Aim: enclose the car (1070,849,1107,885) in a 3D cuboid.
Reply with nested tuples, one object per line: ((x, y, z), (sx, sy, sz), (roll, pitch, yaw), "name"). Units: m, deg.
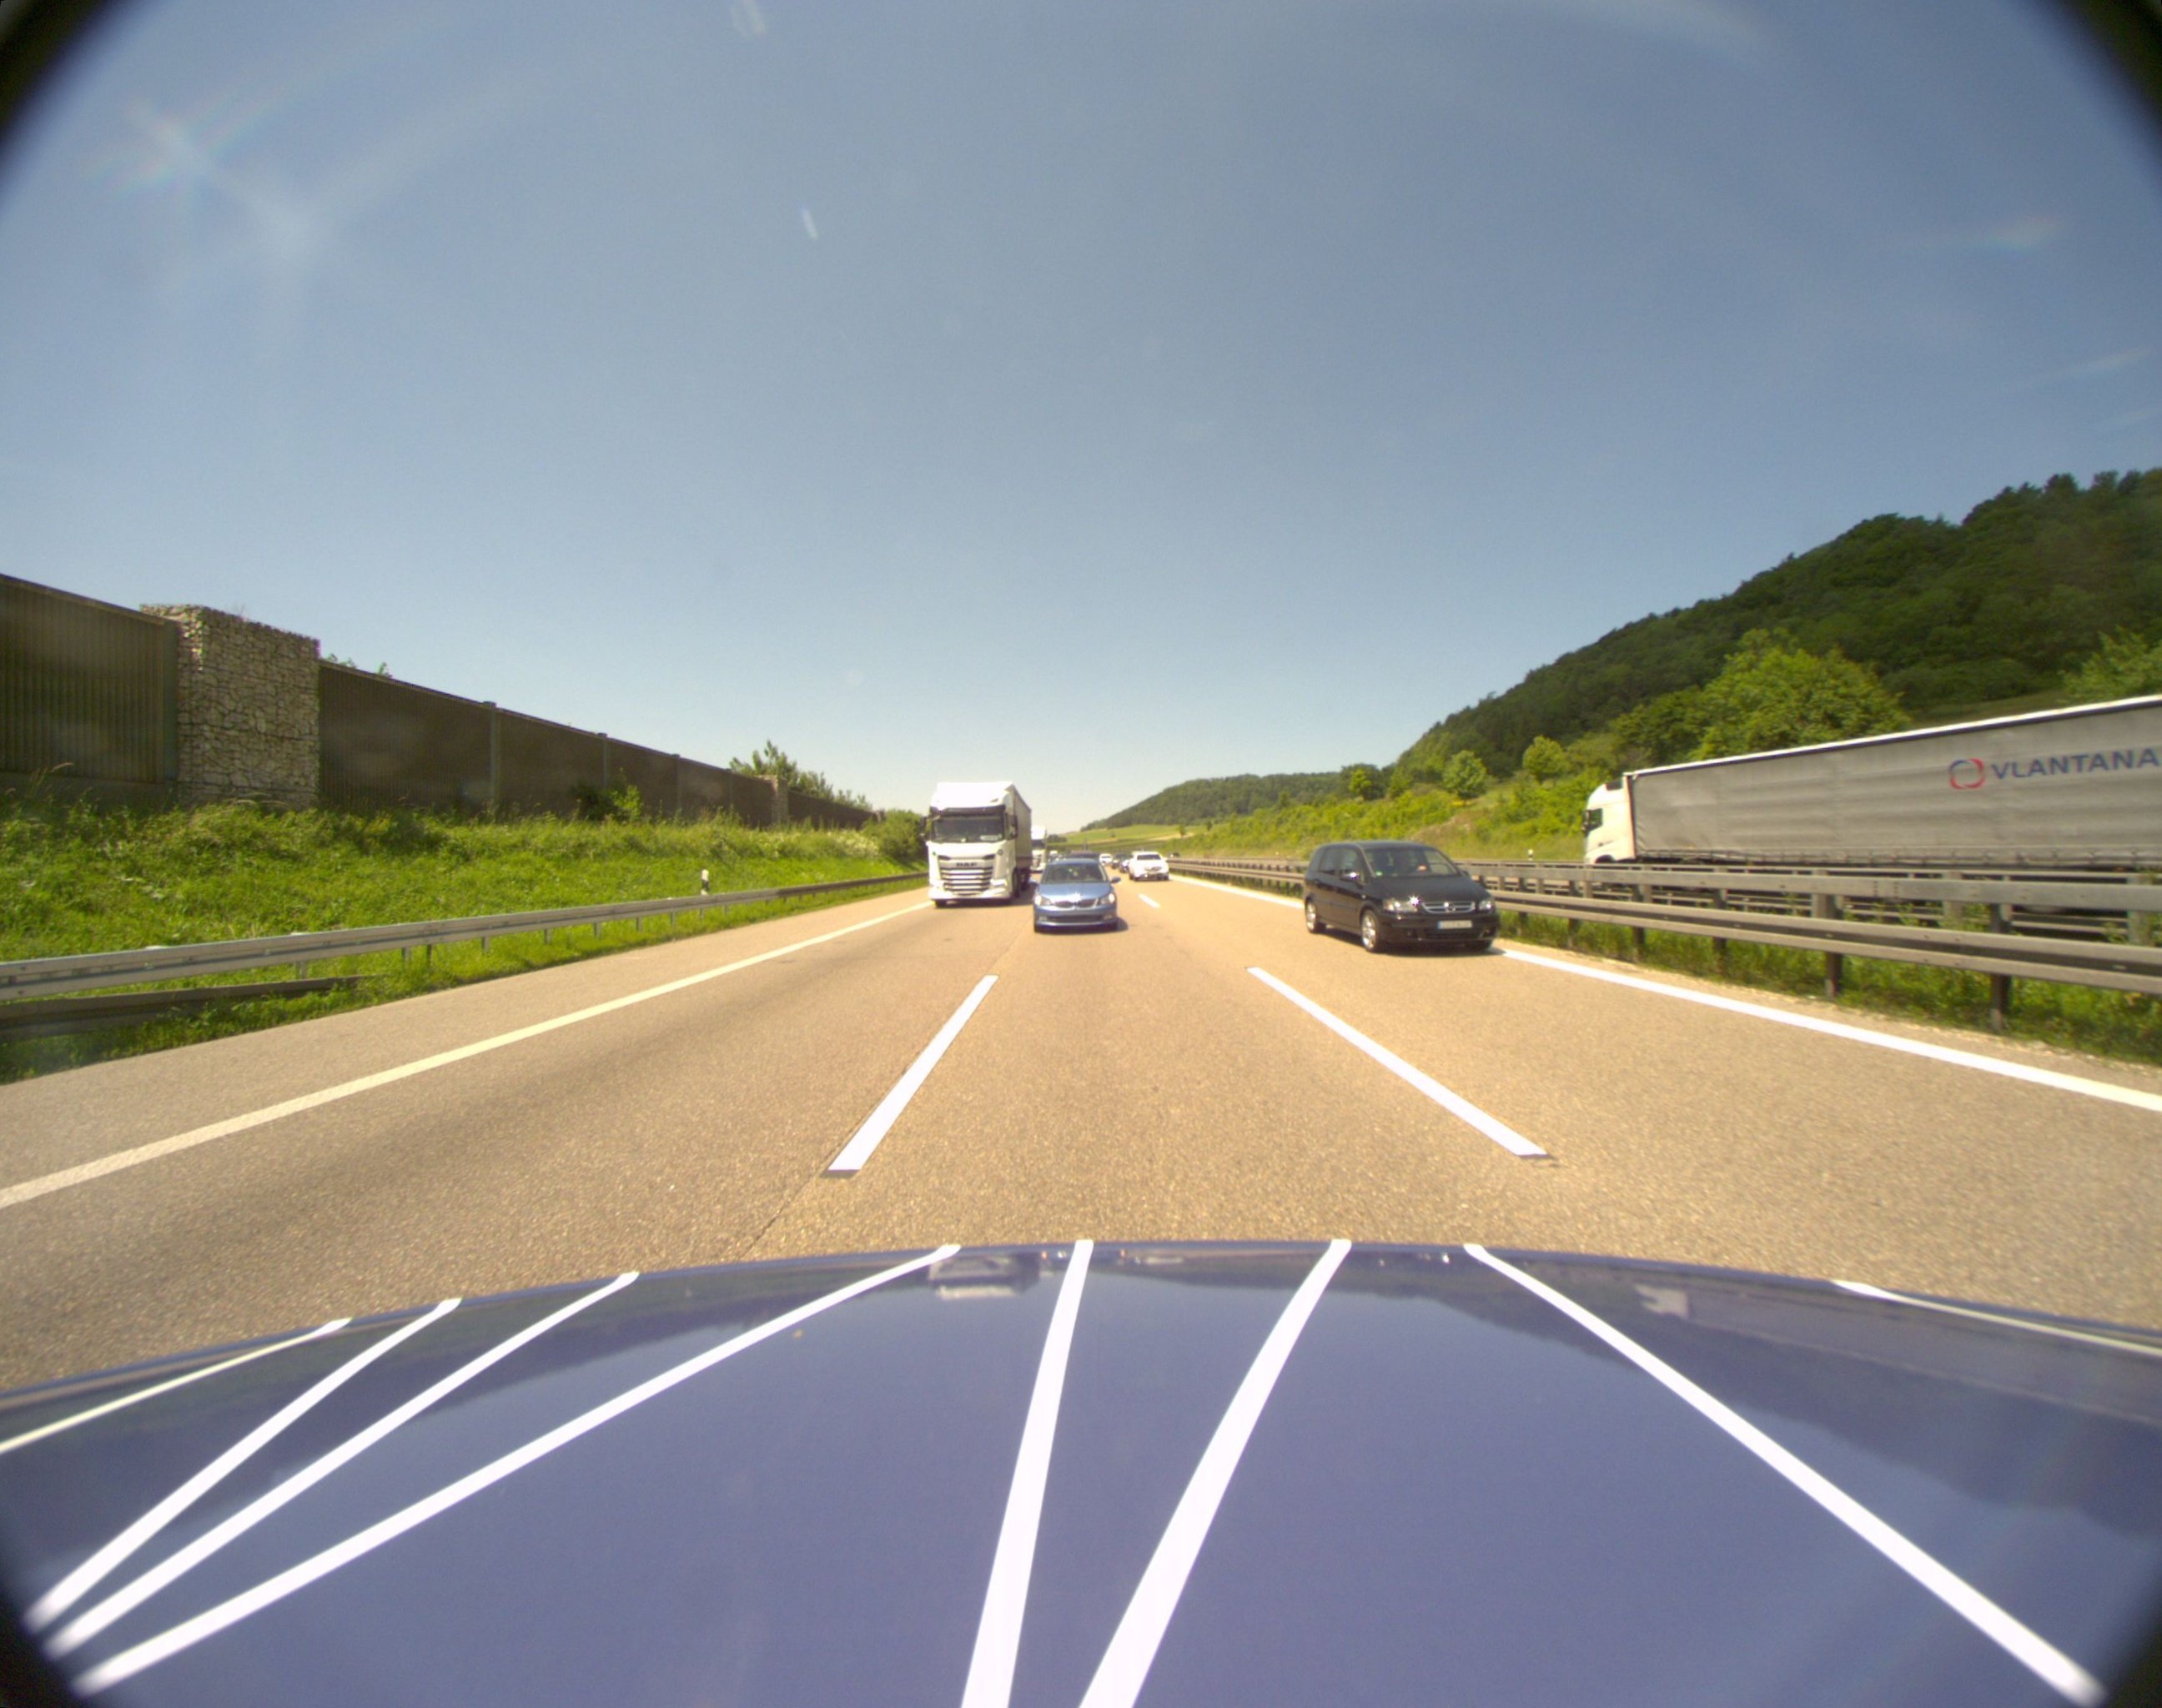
((0.362, 0.609, 38.443), (1.737, 1.674, 4.197), (-1, 0, 0), "car")

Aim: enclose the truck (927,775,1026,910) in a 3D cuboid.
((-3.355, -0.362, 25.878), (2.484, 3.954, 6.380), (-1, 1, -1), "truck")

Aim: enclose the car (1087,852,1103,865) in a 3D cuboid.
((1.955, 0.578, 104.538), (1.998, 1.702, 4.000), (-2, 1, 2), "car")

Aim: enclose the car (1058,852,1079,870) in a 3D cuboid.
((-1.304, 0.744, 78.500), (1.999, 1.702, 3.998), (-2, 1, -2), "car")

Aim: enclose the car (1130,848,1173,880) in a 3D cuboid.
((3.842, 0.506, 42.058), (1.998, 1.612, 3.999), (-2, 1, 0), "car")

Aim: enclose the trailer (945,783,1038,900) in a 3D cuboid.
((-3.448, -0.479, 32.936), (2.484, 3.954, 13.653), (-1, 0, -1), "trailer")

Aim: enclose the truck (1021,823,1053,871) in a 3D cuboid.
((-3.952, -0.661, 68.190), (2.532, 4.065, 6.077), (-2, 1, -3), "truck")

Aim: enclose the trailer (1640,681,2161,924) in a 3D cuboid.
((19.987, -1.011, 18.432), (2.862, 4.167, 13.613), (-2, 1, 0), "trailer")

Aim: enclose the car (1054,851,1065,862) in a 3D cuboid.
((-4.195, 0.488, 145.031), (1.999, 2.002, 3.998), (-2, 1, -2), "car")

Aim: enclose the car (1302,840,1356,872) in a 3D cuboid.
((15.566, 0.124, 47.923), (1.998, 1.842, 4.406), (-2, 0, 1), "car")

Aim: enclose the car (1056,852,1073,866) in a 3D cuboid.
((-2.165, 0.642, 98.484), (1.999, 1.702, 3.998), (-2, 1, -2), "car")

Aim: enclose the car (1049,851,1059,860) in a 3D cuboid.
((-6.228, 0.399, 175.715), (1.999, 2.002, 3.998), (-2, 1, -2), "car")

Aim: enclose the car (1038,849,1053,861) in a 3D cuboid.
((-4.995, 0.128, 107.899), (1.999, 1.702, 3.998), (-2, 1, -2), "car")

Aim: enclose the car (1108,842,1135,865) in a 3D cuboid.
((3.160, -0.031, 60.420), (1.998, 1.692, 4.000), (-2, 1, 2), "car")

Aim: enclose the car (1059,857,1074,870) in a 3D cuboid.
((-2.084, 1.290, 107.567), (1.999, 1.702, 3.998), (-2, 1, -2), "car")

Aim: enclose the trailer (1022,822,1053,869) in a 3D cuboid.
((-4.279, -0.831, 74.017), (2.545, 4.085, 13.622), (-2, 1, -3), "trailer")

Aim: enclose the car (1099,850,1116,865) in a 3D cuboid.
((3.281, 0.425, 93.734), (1.998, 1.702, 4.000), (-2, 1, 2), "car")

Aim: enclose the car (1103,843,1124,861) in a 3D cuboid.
((3.220, -0.228, 76.103), (1.998, 1.702, 4.000), (-2, 1, 2), "car")

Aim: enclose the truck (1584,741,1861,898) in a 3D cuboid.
((20.035, -0.995, 24.489), (2.805, 4.208, 7.230), (-2, 1, 0), "truck")

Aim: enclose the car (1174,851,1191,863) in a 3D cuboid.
((14.799, 0.399, 111.141), (1.854, 1.600, 4.078), (-1, 0, 0), "car")

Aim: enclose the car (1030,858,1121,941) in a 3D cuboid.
((-0.167, 0.861, 16.560), (1.660, 1.481, 4.652), (-1, 0, -2), "car")

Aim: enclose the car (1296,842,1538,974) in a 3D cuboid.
((4.863, 0.663, 11.786), (1.805, 1.625, 4.446), (-1, 0, 1), "car")
